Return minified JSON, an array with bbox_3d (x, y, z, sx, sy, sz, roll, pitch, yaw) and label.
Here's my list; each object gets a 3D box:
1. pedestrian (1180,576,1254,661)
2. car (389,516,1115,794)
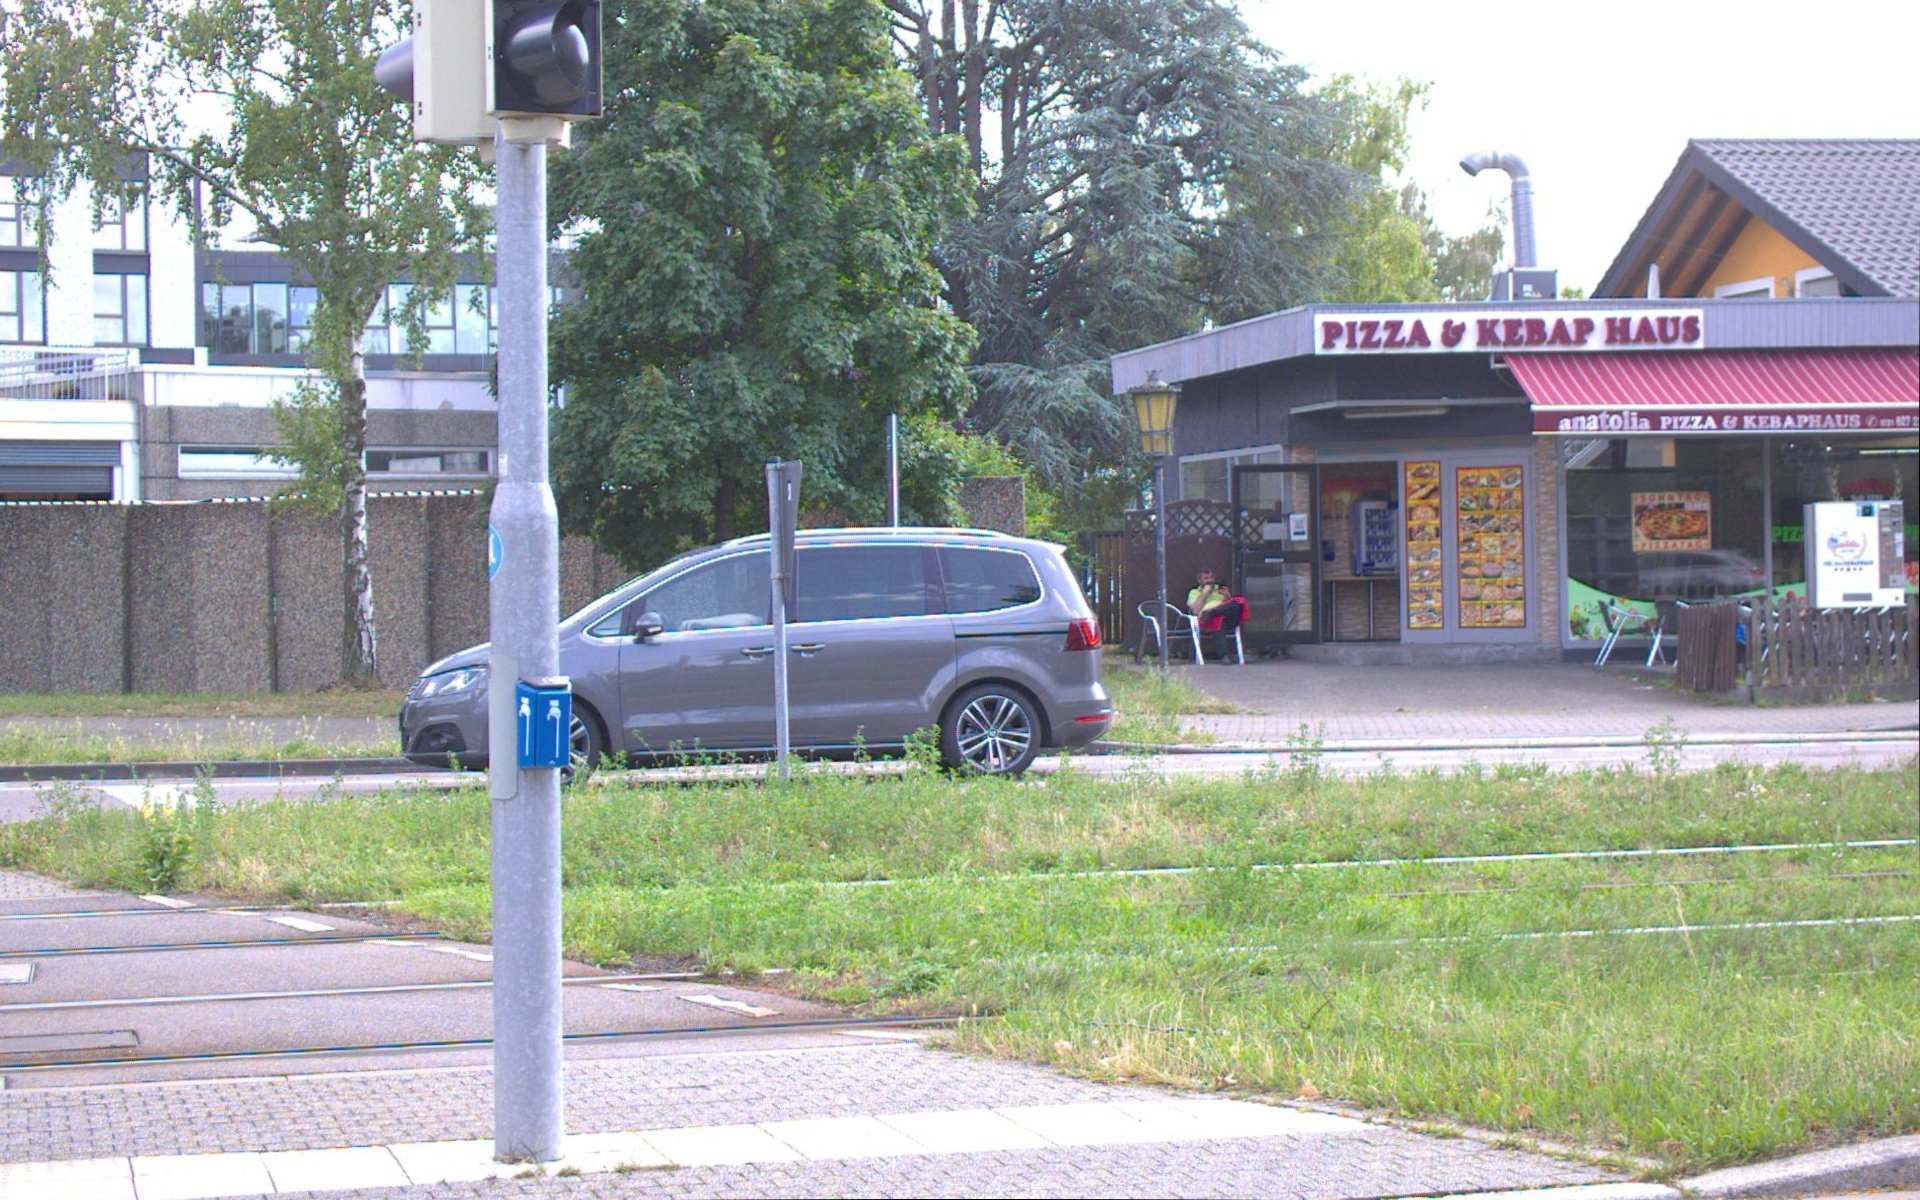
[{"bbox_3d":[2.926,0.205,39.181,0.725,0.926,0.777,0,2,-5],"label":"pedestrian"},{"bbox_3d":[-1.480,0.334,23.428,4.724,1.716,2.001,-1,1,-10],"label":"car"}]
